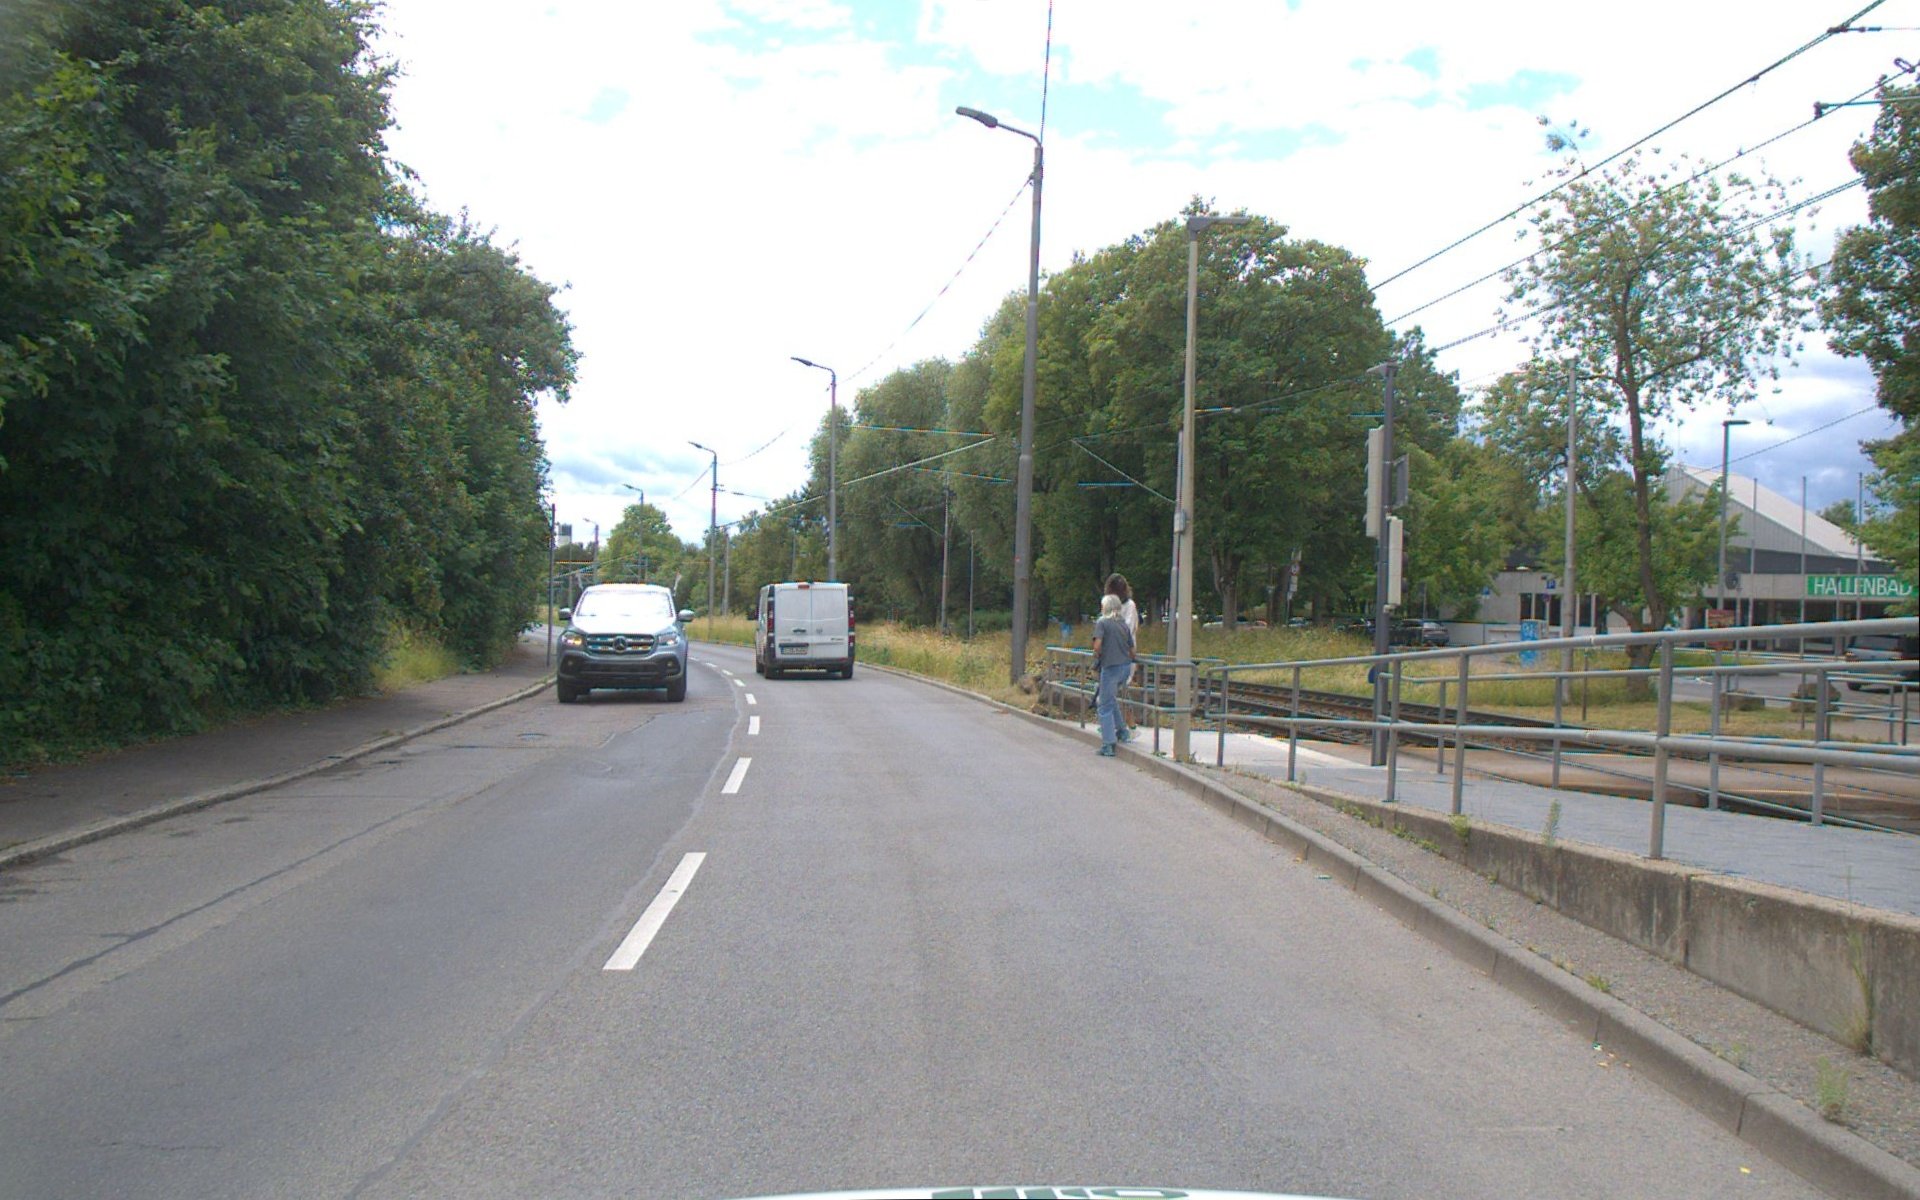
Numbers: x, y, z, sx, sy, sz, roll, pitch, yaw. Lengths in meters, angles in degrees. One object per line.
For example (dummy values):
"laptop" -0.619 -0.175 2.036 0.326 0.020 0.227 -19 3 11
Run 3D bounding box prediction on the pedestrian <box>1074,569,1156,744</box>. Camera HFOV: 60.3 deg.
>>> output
"pedestrian" 1.698 0.625 18.117 0.651 1.873 0.591 3 -4 -28

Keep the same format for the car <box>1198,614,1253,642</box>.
"car" 17.617 1.848 109.893 1.962 1.730 4.209 3 -1 -17

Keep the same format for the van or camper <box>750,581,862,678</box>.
"van or camper" -3.356 0.627 35.367 1.908 1.930 4.271 0 -1 -12

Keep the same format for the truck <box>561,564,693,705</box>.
"truck" -5.371 0.520 26.327 1.816 2.000 4.941 2 -1 -13

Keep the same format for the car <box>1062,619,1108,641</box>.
"car" 11.322 2.706 149.934 1.983 1.844 3.938 2 -1 -42

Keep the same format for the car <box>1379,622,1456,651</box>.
"car" 24.307 1.936 88.004 1.962 1.468 4.325 2 -1 -17

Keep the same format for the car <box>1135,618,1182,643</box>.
"car" 14.419 2.228 120.329 1.961 1.730 3.984 3 -1 -15

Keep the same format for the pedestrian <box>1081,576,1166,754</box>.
"pedestrian" 1.662 0.664 16.858 0.468 1.759 0.792 3 -4 -29

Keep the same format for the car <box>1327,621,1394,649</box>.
"car" 22.596 1.970 93.453 1.962 1.468 3.981 2 -1 -17

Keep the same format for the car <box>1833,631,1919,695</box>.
"car" 29.442 1.969 52.104 4.672 1.893 1.889 2 -1 -41
